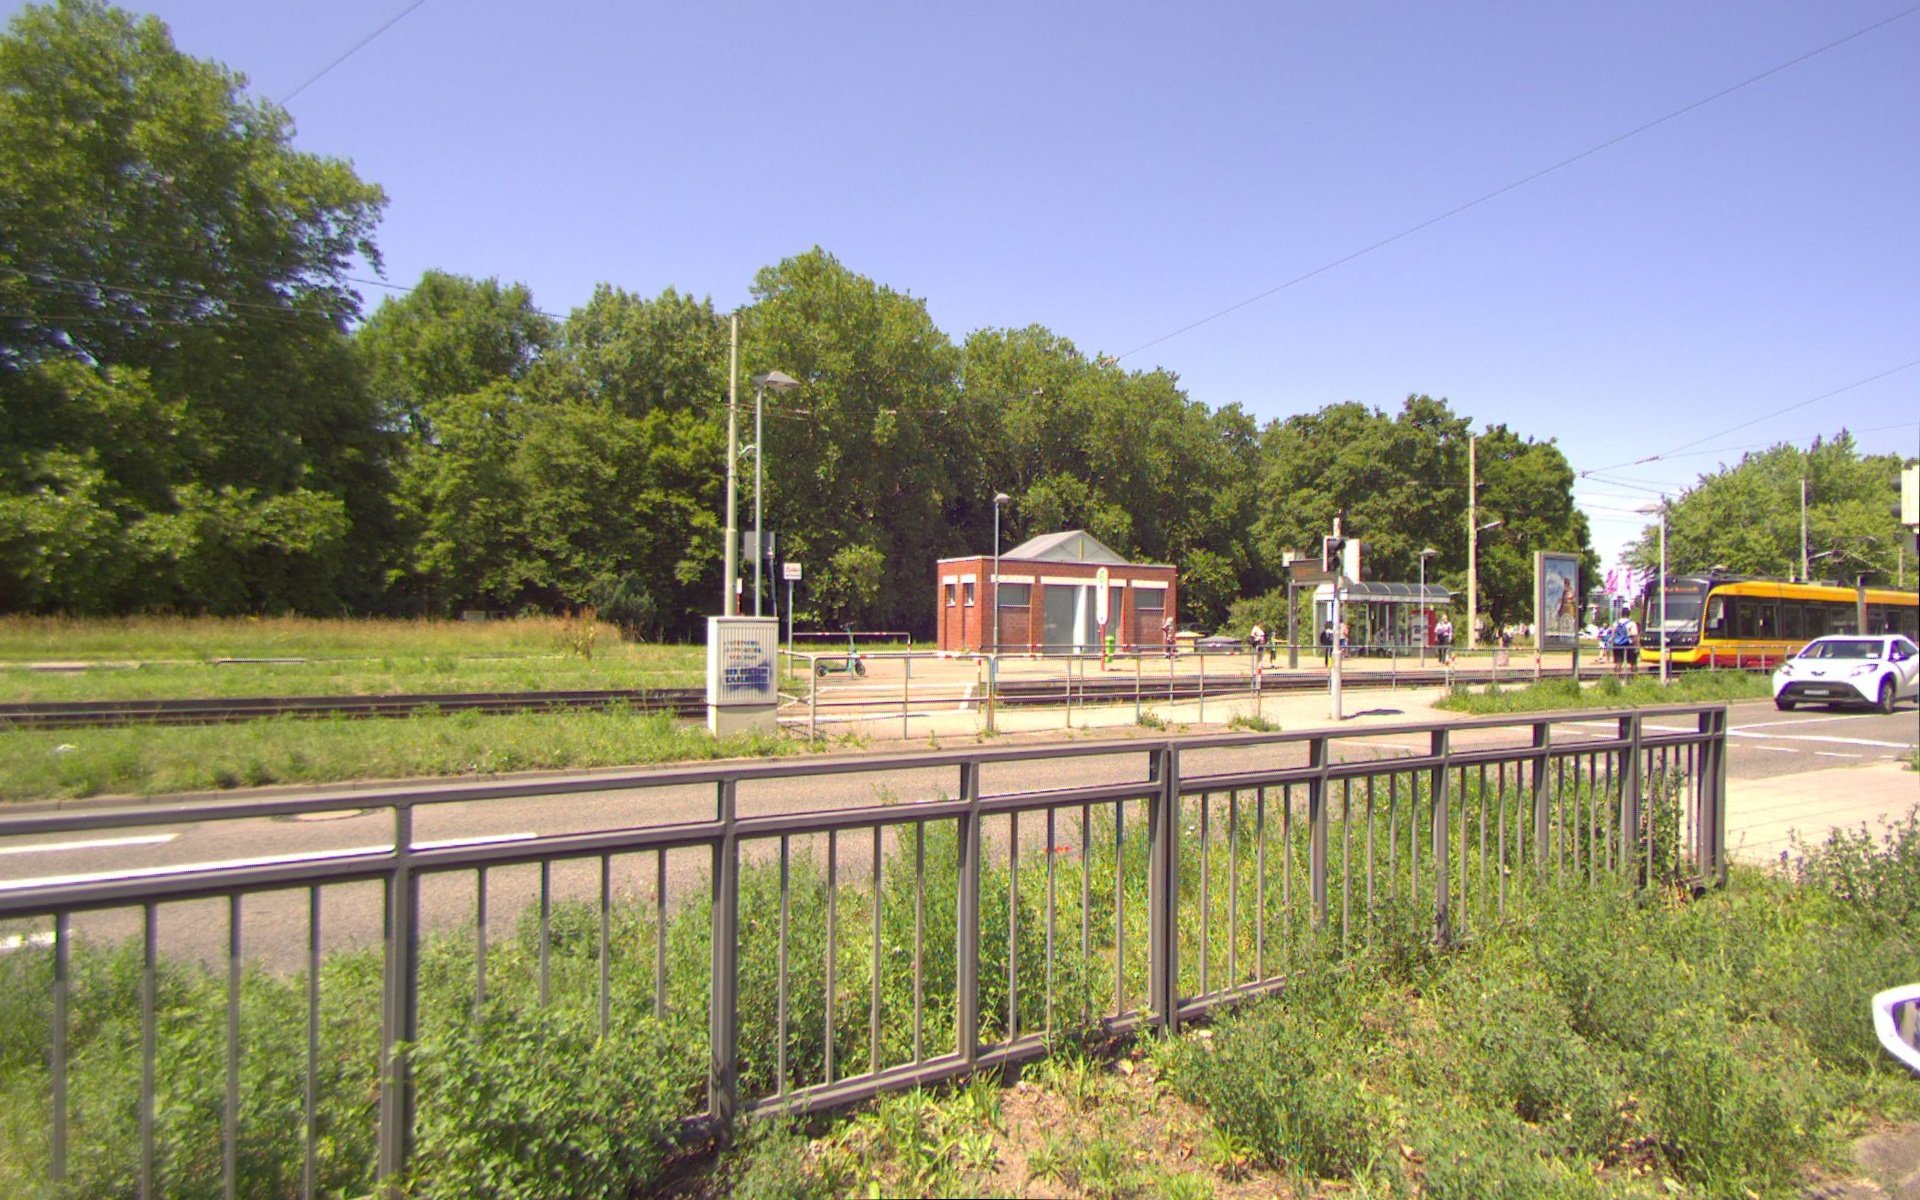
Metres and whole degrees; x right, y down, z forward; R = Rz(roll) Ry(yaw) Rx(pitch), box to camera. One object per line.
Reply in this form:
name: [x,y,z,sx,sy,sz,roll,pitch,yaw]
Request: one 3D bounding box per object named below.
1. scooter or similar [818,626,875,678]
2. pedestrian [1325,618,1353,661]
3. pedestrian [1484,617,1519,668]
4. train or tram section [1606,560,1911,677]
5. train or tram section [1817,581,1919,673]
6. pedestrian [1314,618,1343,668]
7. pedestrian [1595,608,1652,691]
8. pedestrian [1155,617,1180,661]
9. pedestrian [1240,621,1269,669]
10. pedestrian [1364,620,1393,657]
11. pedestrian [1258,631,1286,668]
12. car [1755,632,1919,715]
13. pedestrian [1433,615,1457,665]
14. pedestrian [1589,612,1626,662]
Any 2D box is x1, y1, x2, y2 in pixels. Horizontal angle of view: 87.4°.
scooter or similar: [-2.638,1.203,23.444,1.217,1.183,0.508,1,-1,-30]
pedestrian: [14.389,1.496,38.138,0.799,1.611,0.668,1,-1,-30]
pedestrian: [20.032,1.551,37.148,0.832,1.802,0.714,-1,5,-30]
train or tram section: [32.624,0.843,40.434,18.281,3.984,3.200,1,-1,-30]
train or tram section: [47.485,1.381,50.557,18.338,3.984,3.191,2,-1,-39]
pedestrian: [11.874,1.390,32.374,0.688,1.575,0.629,1,-1,-42]
pedestrian: [15.328,1.125,23.210,0.832,1.802,0.714,-1,5,-30]
pedestrian: [7.126,1.331,34.483,0.563,1.499,0.636,1,-1,-30]
pedestrian: [9.174,1.401,31.327,0.576,1.476,0.636,1,-1,-30]
pedestrian: [17.243,1.575,41.368,0.710,1.531,0.841,1,-1,-19]
pedestrian: [9.925,1.572,31.987,0.563,1.139,0.636,1,-1,-30]
car: [18.107,1.430,20.432,3.747,1.514,1.836,1,-1,-30]
pedestrian: [18.341,1.505,37.991,0.707,1.824,0.845,0,-1,17]
pedestrian: [27.061,1.541,41.983,1.009,2.040,0.976,1,-1,-30]
